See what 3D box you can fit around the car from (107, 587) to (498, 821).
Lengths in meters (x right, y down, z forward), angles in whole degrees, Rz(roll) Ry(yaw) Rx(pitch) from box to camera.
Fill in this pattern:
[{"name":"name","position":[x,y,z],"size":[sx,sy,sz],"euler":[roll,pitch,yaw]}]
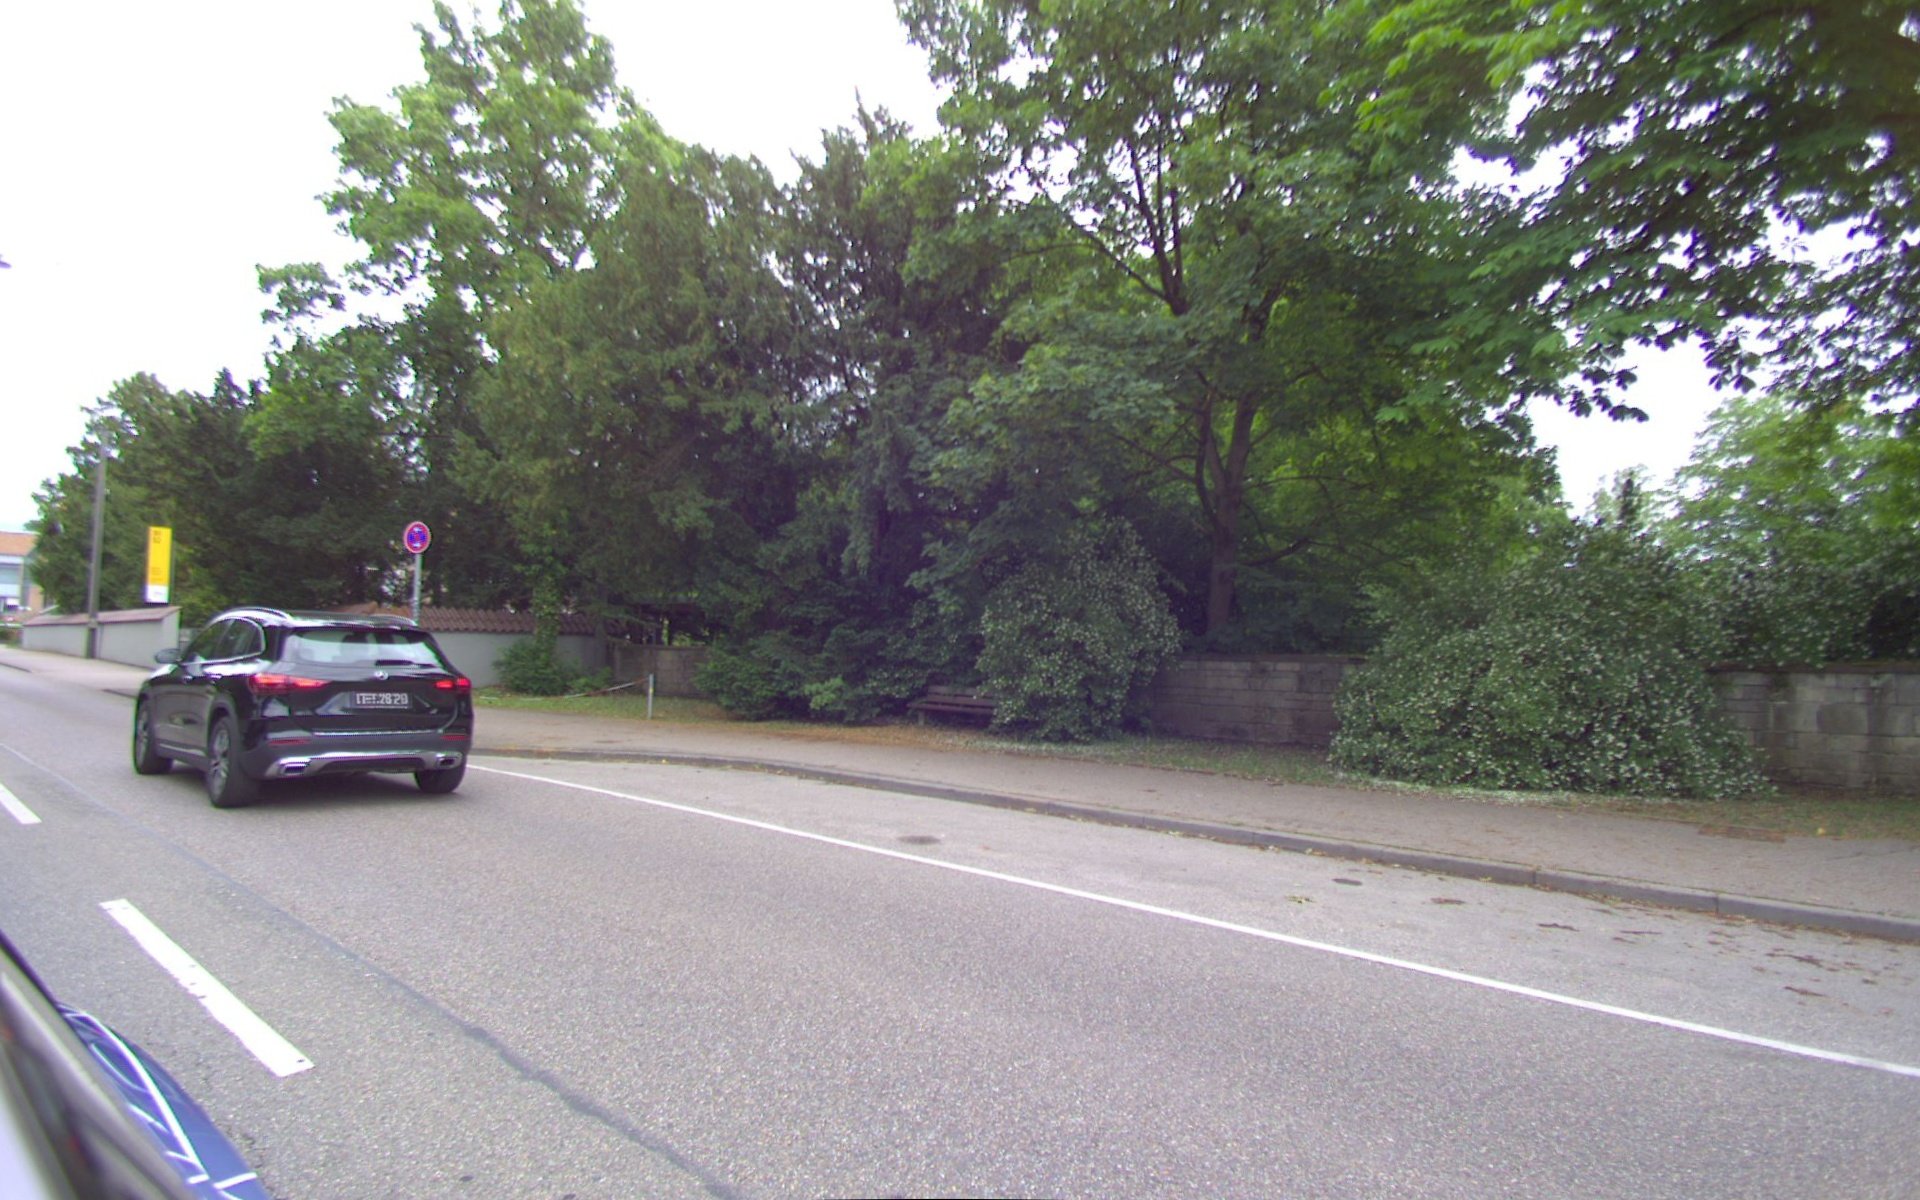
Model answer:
[{"name":"car","position":[-6.213,0.846,9.362],"size":[4.304,1.670,1.840],"euler":[-1,-5,41]}]
